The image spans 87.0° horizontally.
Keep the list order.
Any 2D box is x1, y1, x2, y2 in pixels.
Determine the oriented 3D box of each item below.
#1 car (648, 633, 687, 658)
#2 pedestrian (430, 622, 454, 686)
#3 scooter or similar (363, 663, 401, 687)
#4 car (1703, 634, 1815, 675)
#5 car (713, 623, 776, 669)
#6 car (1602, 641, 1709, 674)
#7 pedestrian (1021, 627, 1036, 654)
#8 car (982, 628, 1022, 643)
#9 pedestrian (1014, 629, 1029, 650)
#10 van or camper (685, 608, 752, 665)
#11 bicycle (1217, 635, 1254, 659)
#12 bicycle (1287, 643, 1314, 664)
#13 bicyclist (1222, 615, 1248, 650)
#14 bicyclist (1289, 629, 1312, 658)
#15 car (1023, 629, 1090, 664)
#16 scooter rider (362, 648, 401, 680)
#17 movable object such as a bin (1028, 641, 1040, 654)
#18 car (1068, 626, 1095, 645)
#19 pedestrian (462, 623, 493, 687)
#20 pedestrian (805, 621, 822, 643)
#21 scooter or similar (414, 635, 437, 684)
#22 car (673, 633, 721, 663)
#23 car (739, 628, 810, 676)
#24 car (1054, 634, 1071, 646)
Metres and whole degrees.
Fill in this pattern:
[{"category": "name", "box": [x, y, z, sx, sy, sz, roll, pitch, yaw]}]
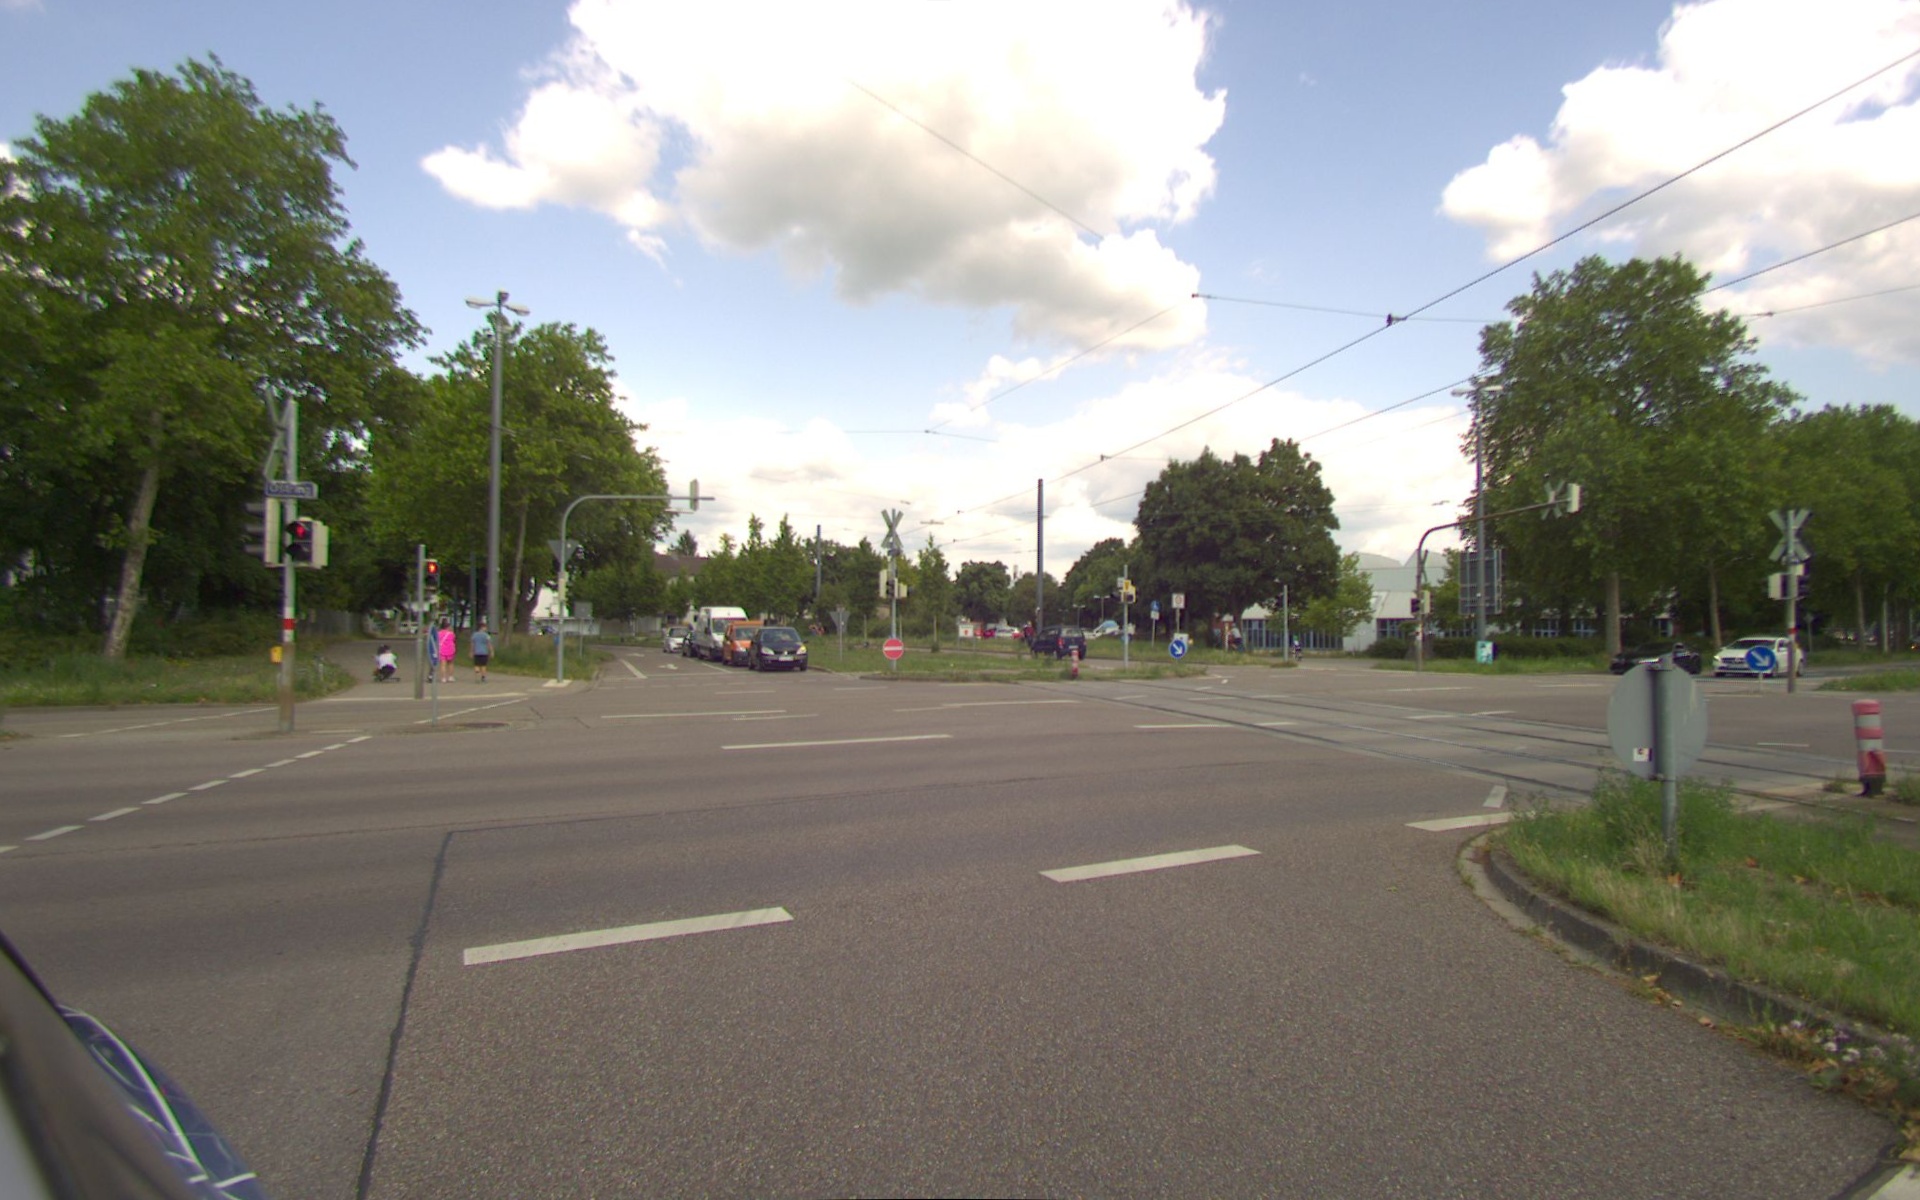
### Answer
[{"category": "car", "box": [-17.959, 2.770, 61.979, 1.780, 1.442, 4.397, 1, -2, -23]}, {"category": "pedestrian", "box": [-13.469, 1.388, 26.318, 0.414, 1.631, 0.598, 0, -2, -15]}, {"category": "scooter or similar", "box": [-14.376, 1.860, 25.172, 0.601, 0.515, 0.860, -2, -1, -14]}, {"category": "car", "box": [28.727, 1.925, 36.364, 4.067, 1.375, 1.836, 1, -2, -32]}, {"category": "car", "box": [-9.064, 1.886, 42.315, 1.851, 1.813, 4.384, 1, -2, -22]}, {"category": "car", "box": [26.644, 2.179, 38.759, 3.644, 1.201, 1.645, 1, -2, -23]}, {"category": "pedestrian", "box": [4.307, 2.576, 63.912, 0.603, 1.657, 0.639, -1, -1, -38]}, {"category": "car", "box": [4.240, 3.595, 102.796, 3.946, 1.542, 1.998, 0, -2, 2]}, {"category": "pedestrian", "box": [4.061, 2.636, 66.919, 0.640, 1.364, 0.754, -1, -1, -31]}, {"category": "van or camper", "box": [-11.698, 1.764, 48.673, 1.948, 2.544, 6.056, 1, -3, -25]}, {"category": "bicycle", "box": [13.784, 2.326, 50.735, 0.936, 1.163, 1.989, 0, -2, -13]}, {"category": "bicycle", "box": [17.804, 2.771, 52.991, 0.940, 1.048, 1.980, 0, -2, 7]}, {"category": "bicyclist", "box": [13.780, 1.640, 50.779, 0.947, 1.735, 0.838, 0, -2, -13]}, {"category": "bicyclist", "box": [17.805, 2.291, 52.953, 0.952, 1.500, 0.834, 0, -2, 7]}, {"category": "car", "box": [4.672, 2.232, 49.699, 1.697, 1.629, 4.013, 1, -2, -20]}, {"category": "scooter rider", "box": [-14.384, 1.583, 25.177, 0.602, 0.734, 0.861, -2, -1, -14]}, {"category": "movable object such as a bin", "box": [4.621, 2.973, 63.505, 0.570, 0.817, 0.461, -1, -1, -38]}, {"category": "car", "box": [10.946, 3.158, 91.235, 1.973, 1.652, 4.388, 0, -2, 2]}, {"category": "pedestrian", "box": [-12.539, 1.416, 26.320, 0.622, 1.631, 0.612, 0, -2, -15]}, {"category": "pedestrian", "box": [-13.720, 2.959, 94.680, 1.088, 2.029, 1.180, 1, -2, -36]}, {"category": "scooter or similar", "box": [-13.926, 1.544, 26.357, 0.316, 1.241, 0.778, -2, -1, -13]}, {"category": "car", "box": [-14.172, 2.555, 54.361, 1.780, 1.442, 4.484, 1, -1, -24]}, {"category": "car", "box": [-6.732, 1.821, 36.397, 1.705, 1.643, 4.065, 1, -2, -22]}, {"category": "car", "box": [14.519, 5.726, 143.558, 1.973, 1.652, 4.388, 0, -2, 2]}]
